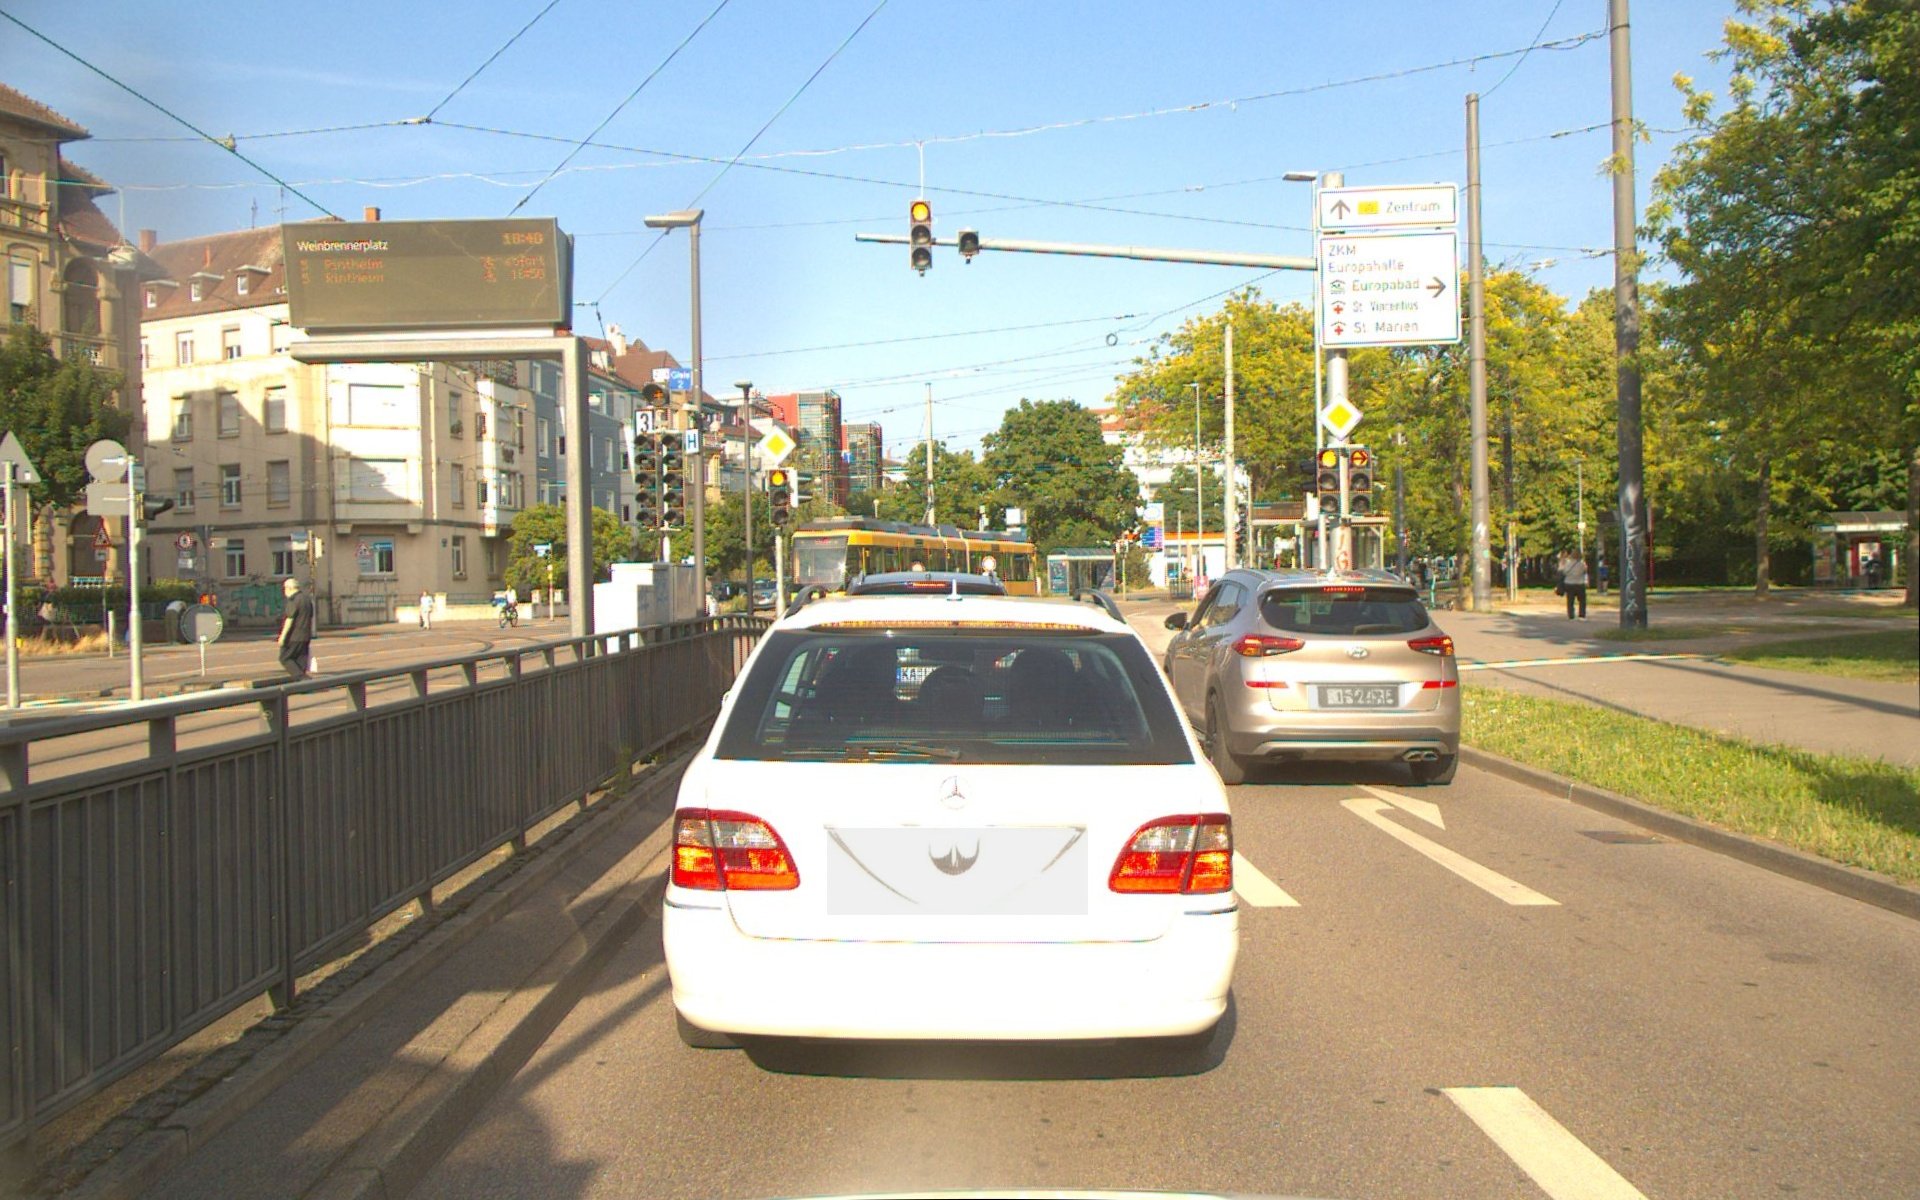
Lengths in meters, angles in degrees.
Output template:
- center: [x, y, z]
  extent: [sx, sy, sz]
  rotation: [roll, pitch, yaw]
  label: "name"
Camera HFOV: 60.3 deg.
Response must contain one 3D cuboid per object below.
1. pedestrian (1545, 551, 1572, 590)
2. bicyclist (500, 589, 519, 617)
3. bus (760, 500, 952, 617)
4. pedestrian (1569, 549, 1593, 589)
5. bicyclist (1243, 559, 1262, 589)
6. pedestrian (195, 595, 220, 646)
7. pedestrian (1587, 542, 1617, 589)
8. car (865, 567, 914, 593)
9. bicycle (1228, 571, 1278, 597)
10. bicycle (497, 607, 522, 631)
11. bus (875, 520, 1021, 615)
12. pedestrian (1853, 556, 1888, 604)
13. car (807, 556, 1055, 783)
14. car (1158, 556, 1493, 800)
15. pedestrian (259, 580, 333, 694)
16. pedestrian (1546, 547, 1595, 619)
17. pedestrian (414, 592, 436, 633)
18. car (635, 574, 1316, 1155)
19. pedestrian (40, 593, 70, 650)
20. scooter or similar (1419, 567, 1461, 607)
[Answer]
- center: [23.761, -1.171, 65.661]
  extent: [0.809, 1.513, 0.690]
  rotation: [-2, 1, -43]
  label: "pedestrian"
- center: [-17.318, 0.112, 63.565]
  extent: [0.502, 1.062, 0.679]
  rotation: [-2, 0, -1]
  label: "bicyclist"
- center: [-3.335, -1.295, 58.098]
  extent: [3.042, 3.669, 12.384]
  rotation: [1, 0, 14]
  label: "bus"
- center: [24.312, -1.215, 64.768]
  extent: [0.796, 1.513, 0.700]
  rotation: [-1, 0, 24]
  label: "pedestrian"
- center: [14.678, -1.309, 83.022]
  extent: [0.842, 1.507, 0.790]
  rotation: [-1, 0, 9]
  label: "bicyclist"
- center: [-22.854, 0.627, 50.258]
  extent: [0.523, 1.527, 0.389]
  rotation: [-1, 0, 14]
  label: "pedestrian"
- center: [25.585, -1.370, 65.948]
  extent: [0.784, 1.816, 0.838]
  rotation: [-1, 0, -5]
  label: "pedestrian"
- center: [-5.782, -1.632, 136.009]
  extent: [3.907, 2.049, 1.999]
  rotation: [1, 0, -2]
  label: "car"
- center: [14.703, -0.788, 83.032]
  extent: [2.430, 1.234, 0.807]
  rotation: [-1, 0, 7]
  label: "bicycle"
- center: [-17.308, 0.731, 63.620]
  extent: [0.515, 0.849, 1.686]
  rotation: [-2, 1, -1]
  label: "bicycle"
- center: [-0.257, -1.250, 70.227]
  extent: [3.042, 3.669, 12.600]
  rotation: [1, 0, 14]
  label: "bus"
- center: [32.232, -0.721, 58.545]
  extent: [0.818, 1.665, 0.803]
  rotation: [-1, 0, 5]
  label: "pedestrian"
- center: [-0.244, 0.505, 14.242]
  extent: [1.846, 1.680, 3.647]
  rotation: [1, 1, -1]
  label: "car"
- center: [2.816, 0.531, 13.565]
  extent: [1.847, 1.680, 3.647]
  rotation: [-2, 1, -1]
  label: "car"
- center: [-10.063, 0.552, 25.076]
  extent: [0.745, 1.674, 0.788]
  rotation: [-1, 1, 45]
  label: "pedestrian"
- center: [14.468, -0.401, 39.178]
  extent: [0.748, 1.665, 0.797]
  rotation: [-2, 1, -40]
  label: "pedestrian"
- center: [-20.854, 0.480, 64.491]
  extent: [0.616, 1.568, 0.711]
  rotation: [-1, 0, -1]
  label: "pedestrian"
- center: [0.012, 0.662, 6.097]
  extent: [1.759, 1.496, 3.647]
  rotation: [0, 1, -1]
  label: "car"
- center: [-24.867, 0.593, 45.432]
  extent: [0.428, 1.527, 0.549]
  rotation: [-1, 0, 14]
  label: "pedestrian"
- center: [13.712, -0.369, 47.260]
  extent: [0.413, 1.136, 1.322]
  rotation: [-2, 1, -20]
  label: "scooter or similar"
